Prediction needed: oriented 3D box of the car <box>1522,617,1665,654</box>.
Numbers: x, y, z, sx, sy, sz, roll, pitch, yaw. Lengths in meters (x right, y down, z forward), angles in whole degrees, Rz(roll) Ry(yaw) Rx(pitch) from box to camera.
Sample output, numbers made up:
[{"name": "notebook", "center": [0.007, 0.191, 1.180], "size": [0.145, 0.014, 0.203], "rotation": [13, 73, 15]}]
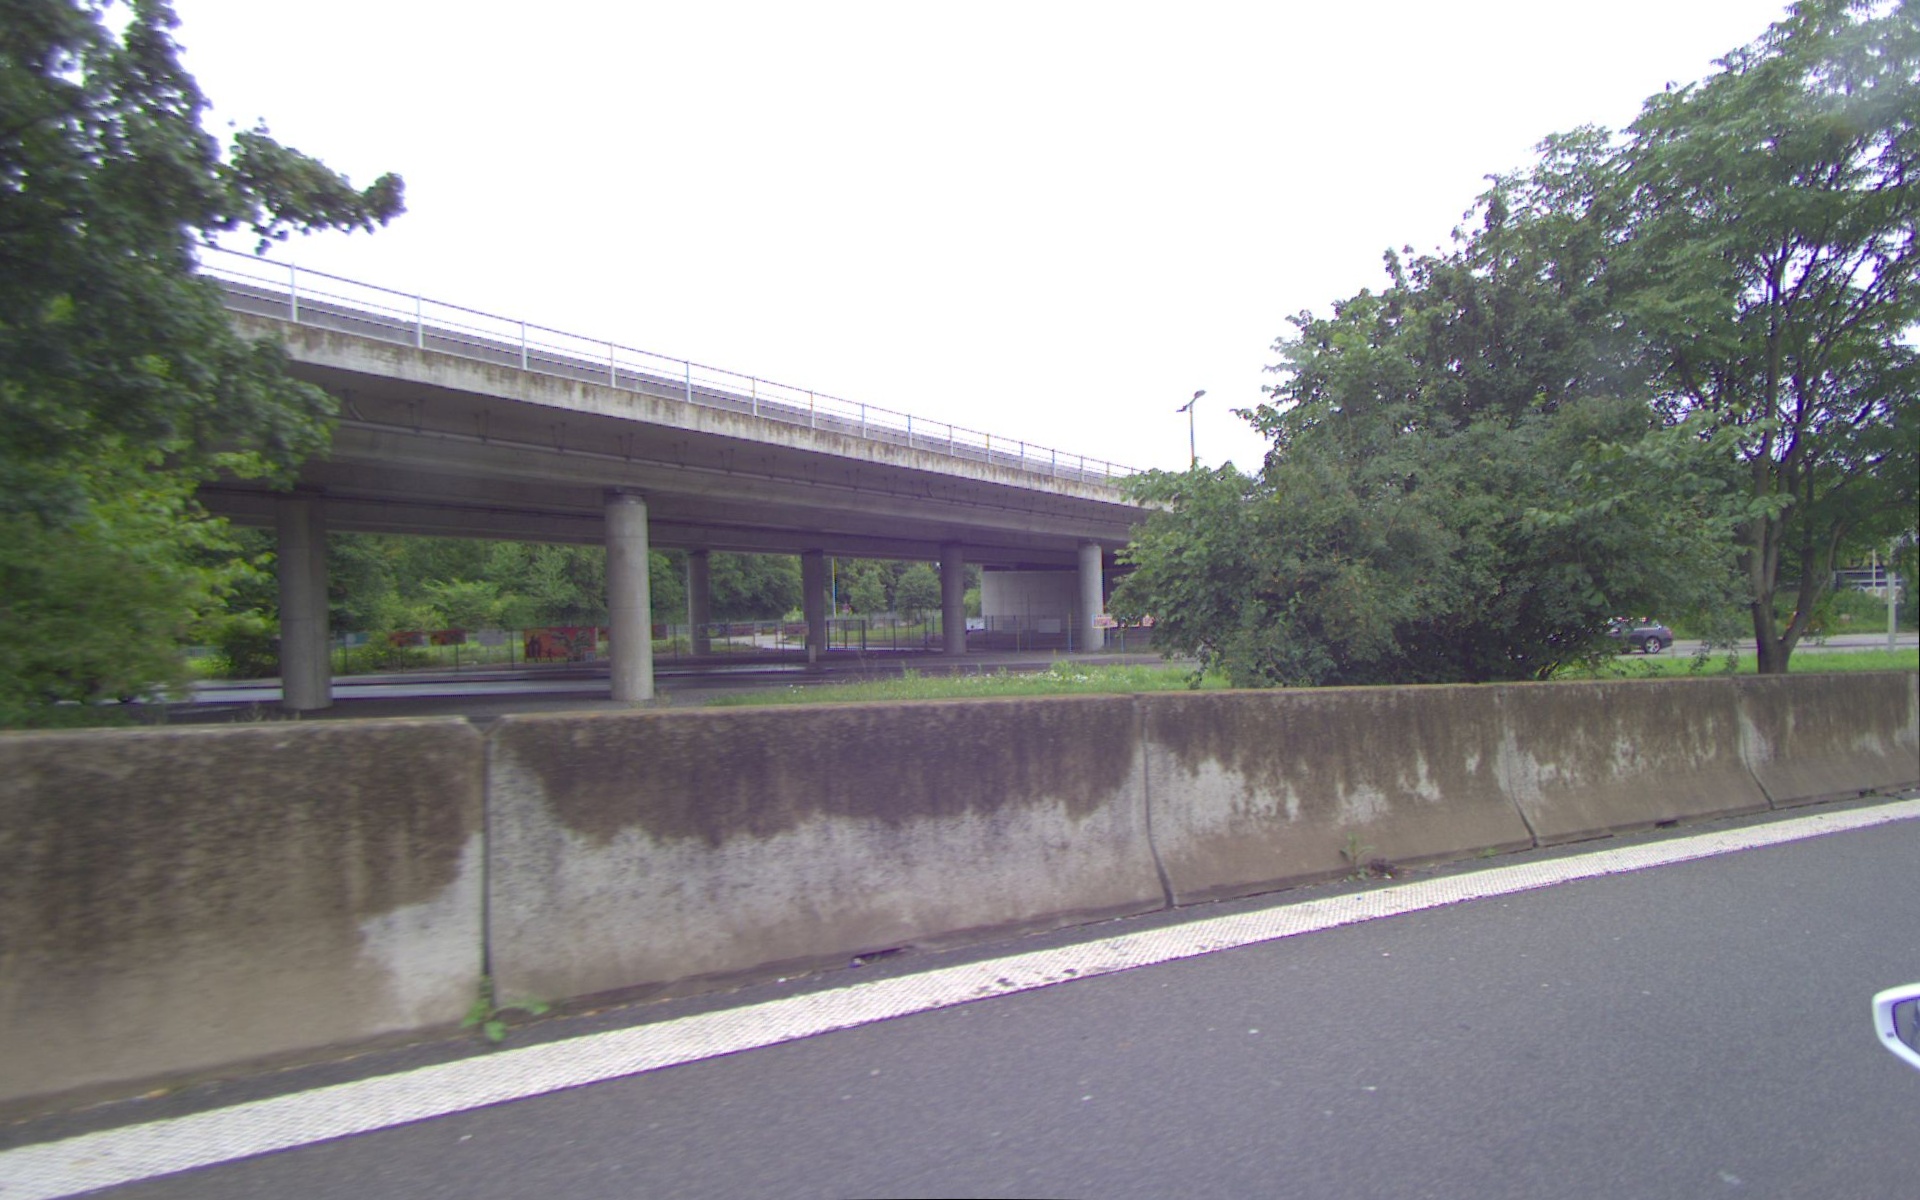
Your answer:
[{"name": "car", "center": [26.192, 1.461, 41.617], "size": [4.723, 1.415, 1.975], "rotation": [-1, -1, -2]}]

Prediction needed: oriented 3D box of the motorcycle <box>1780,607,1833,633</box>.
[{"name": "motorcycle", "center": [40.291, 0.953, 47.826], "size": [2.153, 1.192, 0.535], "rotation": [-2, 0, -4]}]

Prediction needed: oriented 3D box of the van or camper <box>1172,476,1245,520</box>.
[{"name": "van or camper", "center": [17.121, -6.930, 68.982], "size": [2.604, 2.275, 6.017], "rotation": [-1, -1, 38]}]

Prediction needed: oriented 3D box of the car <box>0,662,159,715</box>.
[{"name": "car", "center": [-29.934, 2.936, 33.624], "size": [4.504, 1.604, 1.974], "rotation": [-1, -2, -6]}]
